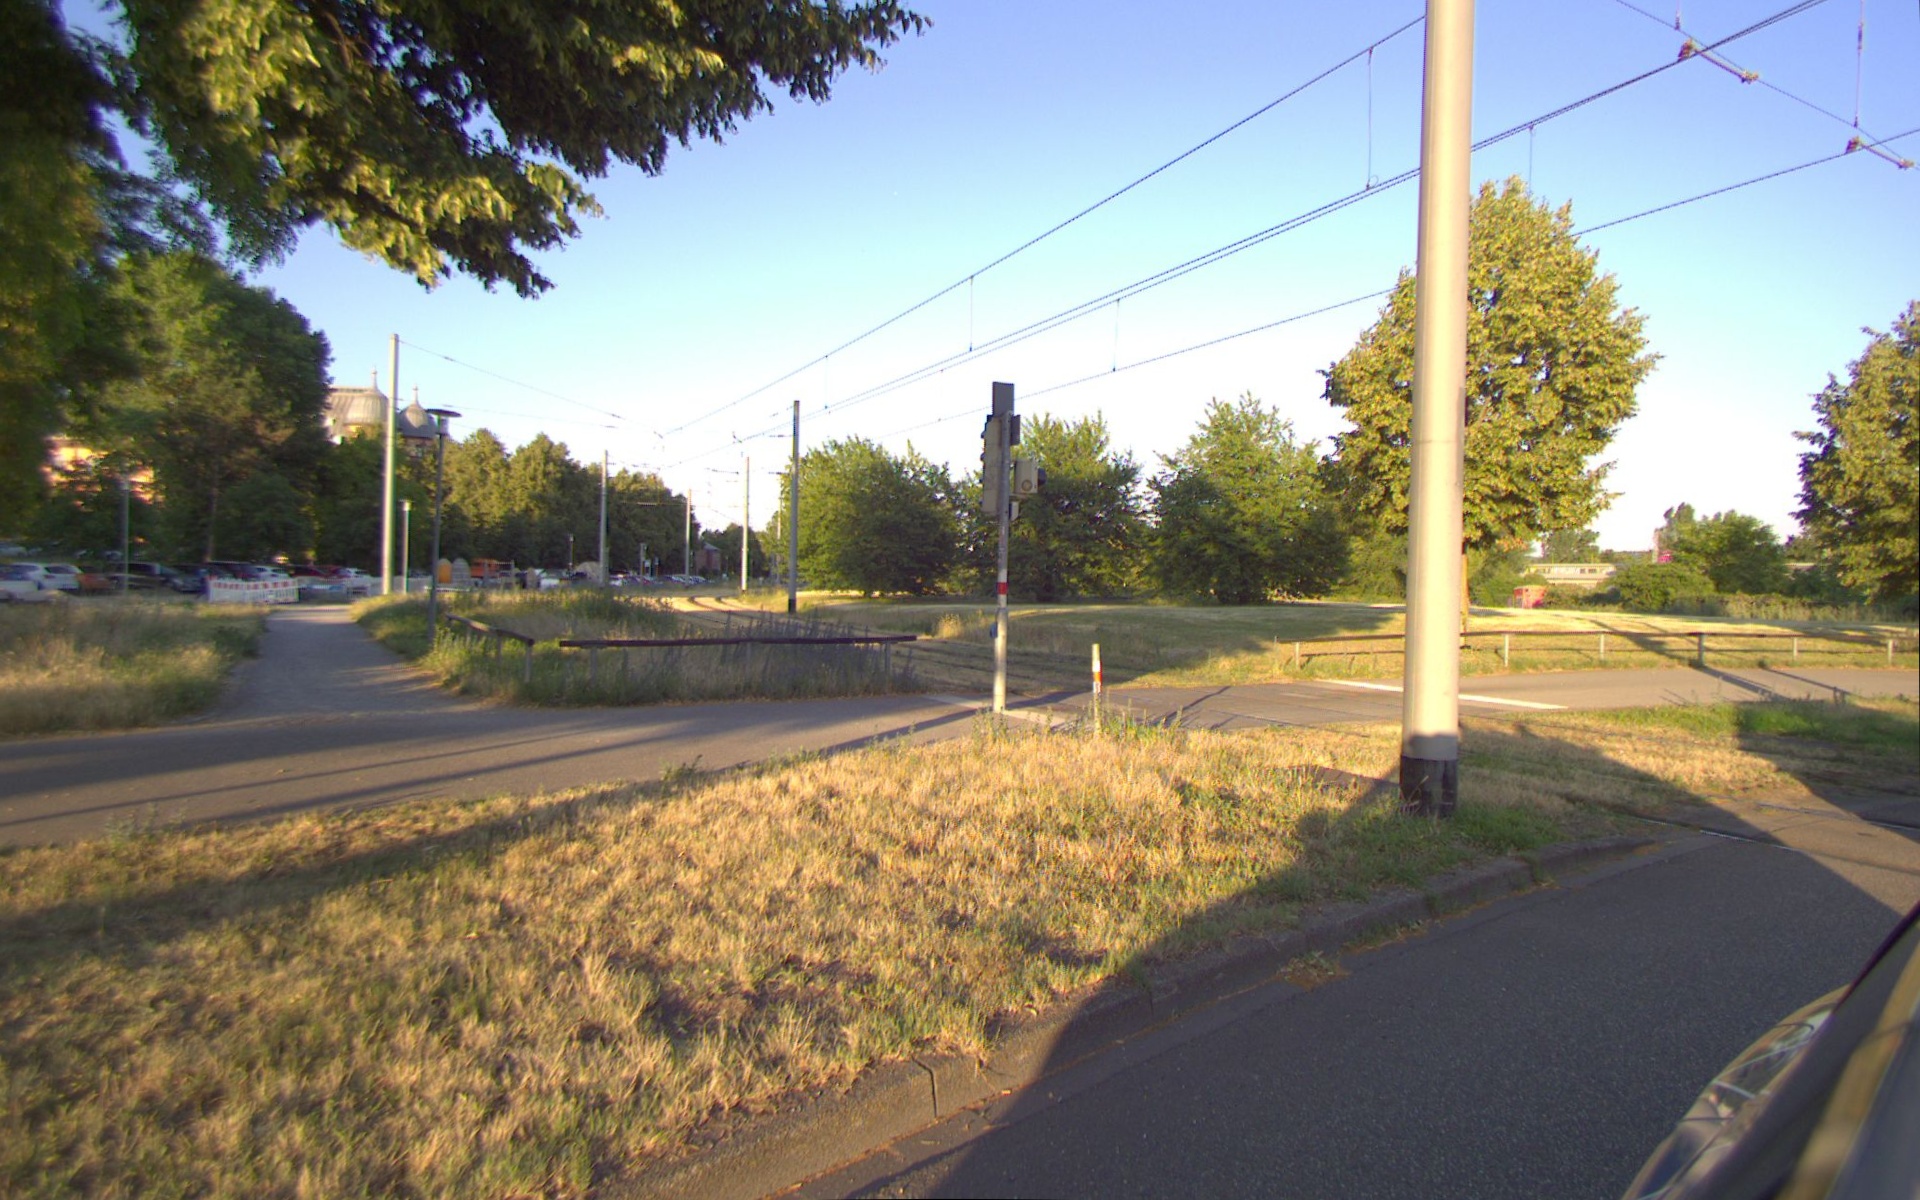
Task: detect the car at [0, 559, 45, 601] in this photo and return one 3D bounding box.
[{"bbox_3d":[-40.807,-0.856,41.926,3.918,1.682,1.956,1,1,-7],"label":"car"}]

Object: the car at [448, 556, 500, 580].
[{"bbox_3d":[-44.887,-2.910,93.576,3.918,2.121,1.906,1,1,-7],"label":"car"}]

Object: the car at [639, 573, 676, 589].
[{"bbox_3d":[-32.198,-2.012,107.821,3.537,1.501,1.714,2,-1,-10],"label":"car"}]

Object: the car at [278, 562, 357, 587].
[{"bbox_3d":[-42.154,-1.647,66.486,3.918,1.573,1.906,1,1,-7],"label":"car"}]

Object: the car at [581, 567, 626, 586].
[{"bbox_3d":[-31.810,-2.071,90.322,3.537,1.501,1.714,2,-1,-10],"label":"car"}]

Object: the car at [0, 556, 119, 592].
[{"bbox_3d":[-41.537,-1.209,46.593,3.918,1.573,1.906,1,1,-7],"label":"car"}]

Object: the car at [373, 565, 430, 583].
[{"bbox_3d":[-44.211,-2.075,80.200,3.603,1.371,1.803,1,1,-10],"label":"car"}]

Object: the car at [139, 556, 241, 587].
[{"bbox_3d":[-41.308,-1.505,54.354,3.918,1.573,1.906,1,1,-7],"label":"car"}]

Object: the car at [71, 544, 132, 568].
[{"bbox_3d":[-72.930,-3.740,86.066,1.960,1.767,4.003,2,0,-5],"label":"car"}]

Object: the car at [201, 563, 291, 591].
[{"bbox_3d":[-41.948,-1.343,59.523,3.918,1.573,1.906,1,1,-7],"label":"car"}]

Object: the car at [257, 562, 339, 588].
[{"bbox_3d":[-41.797,-1.579,63.948,3.918,1.573,1.906,1,1,-7],"label":"car"}]

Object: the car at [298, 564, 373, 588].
[{"bbox_3d":[-42.495,-1.625,68.934,3.918,1.573,1.906,1,1,-7],"label":"car"}]

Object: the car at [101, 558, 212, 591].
[{"bbox_3d":[-40.941,-1.290,51.633,4.015,1.573,1.906,1,1,-7],"label":"car"}]

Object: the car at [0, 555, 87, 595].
[{"bbox_3d":[-40.936,-1.120,44.154,3.918,1.682,1.956,1,1,-7],"label":"car"}]

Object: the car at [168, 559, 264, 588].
[{"bbox_3d":[-41.526,-1.474,56.553,3.918,1.573,1.906,1,1,-7],"label":"car"}]

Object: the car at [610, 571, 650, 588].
[{"bbox_3d":[-32.578,-2.056,100.051,3.537,1.501,1.714,2,-1,-10],"label":"car"}]
